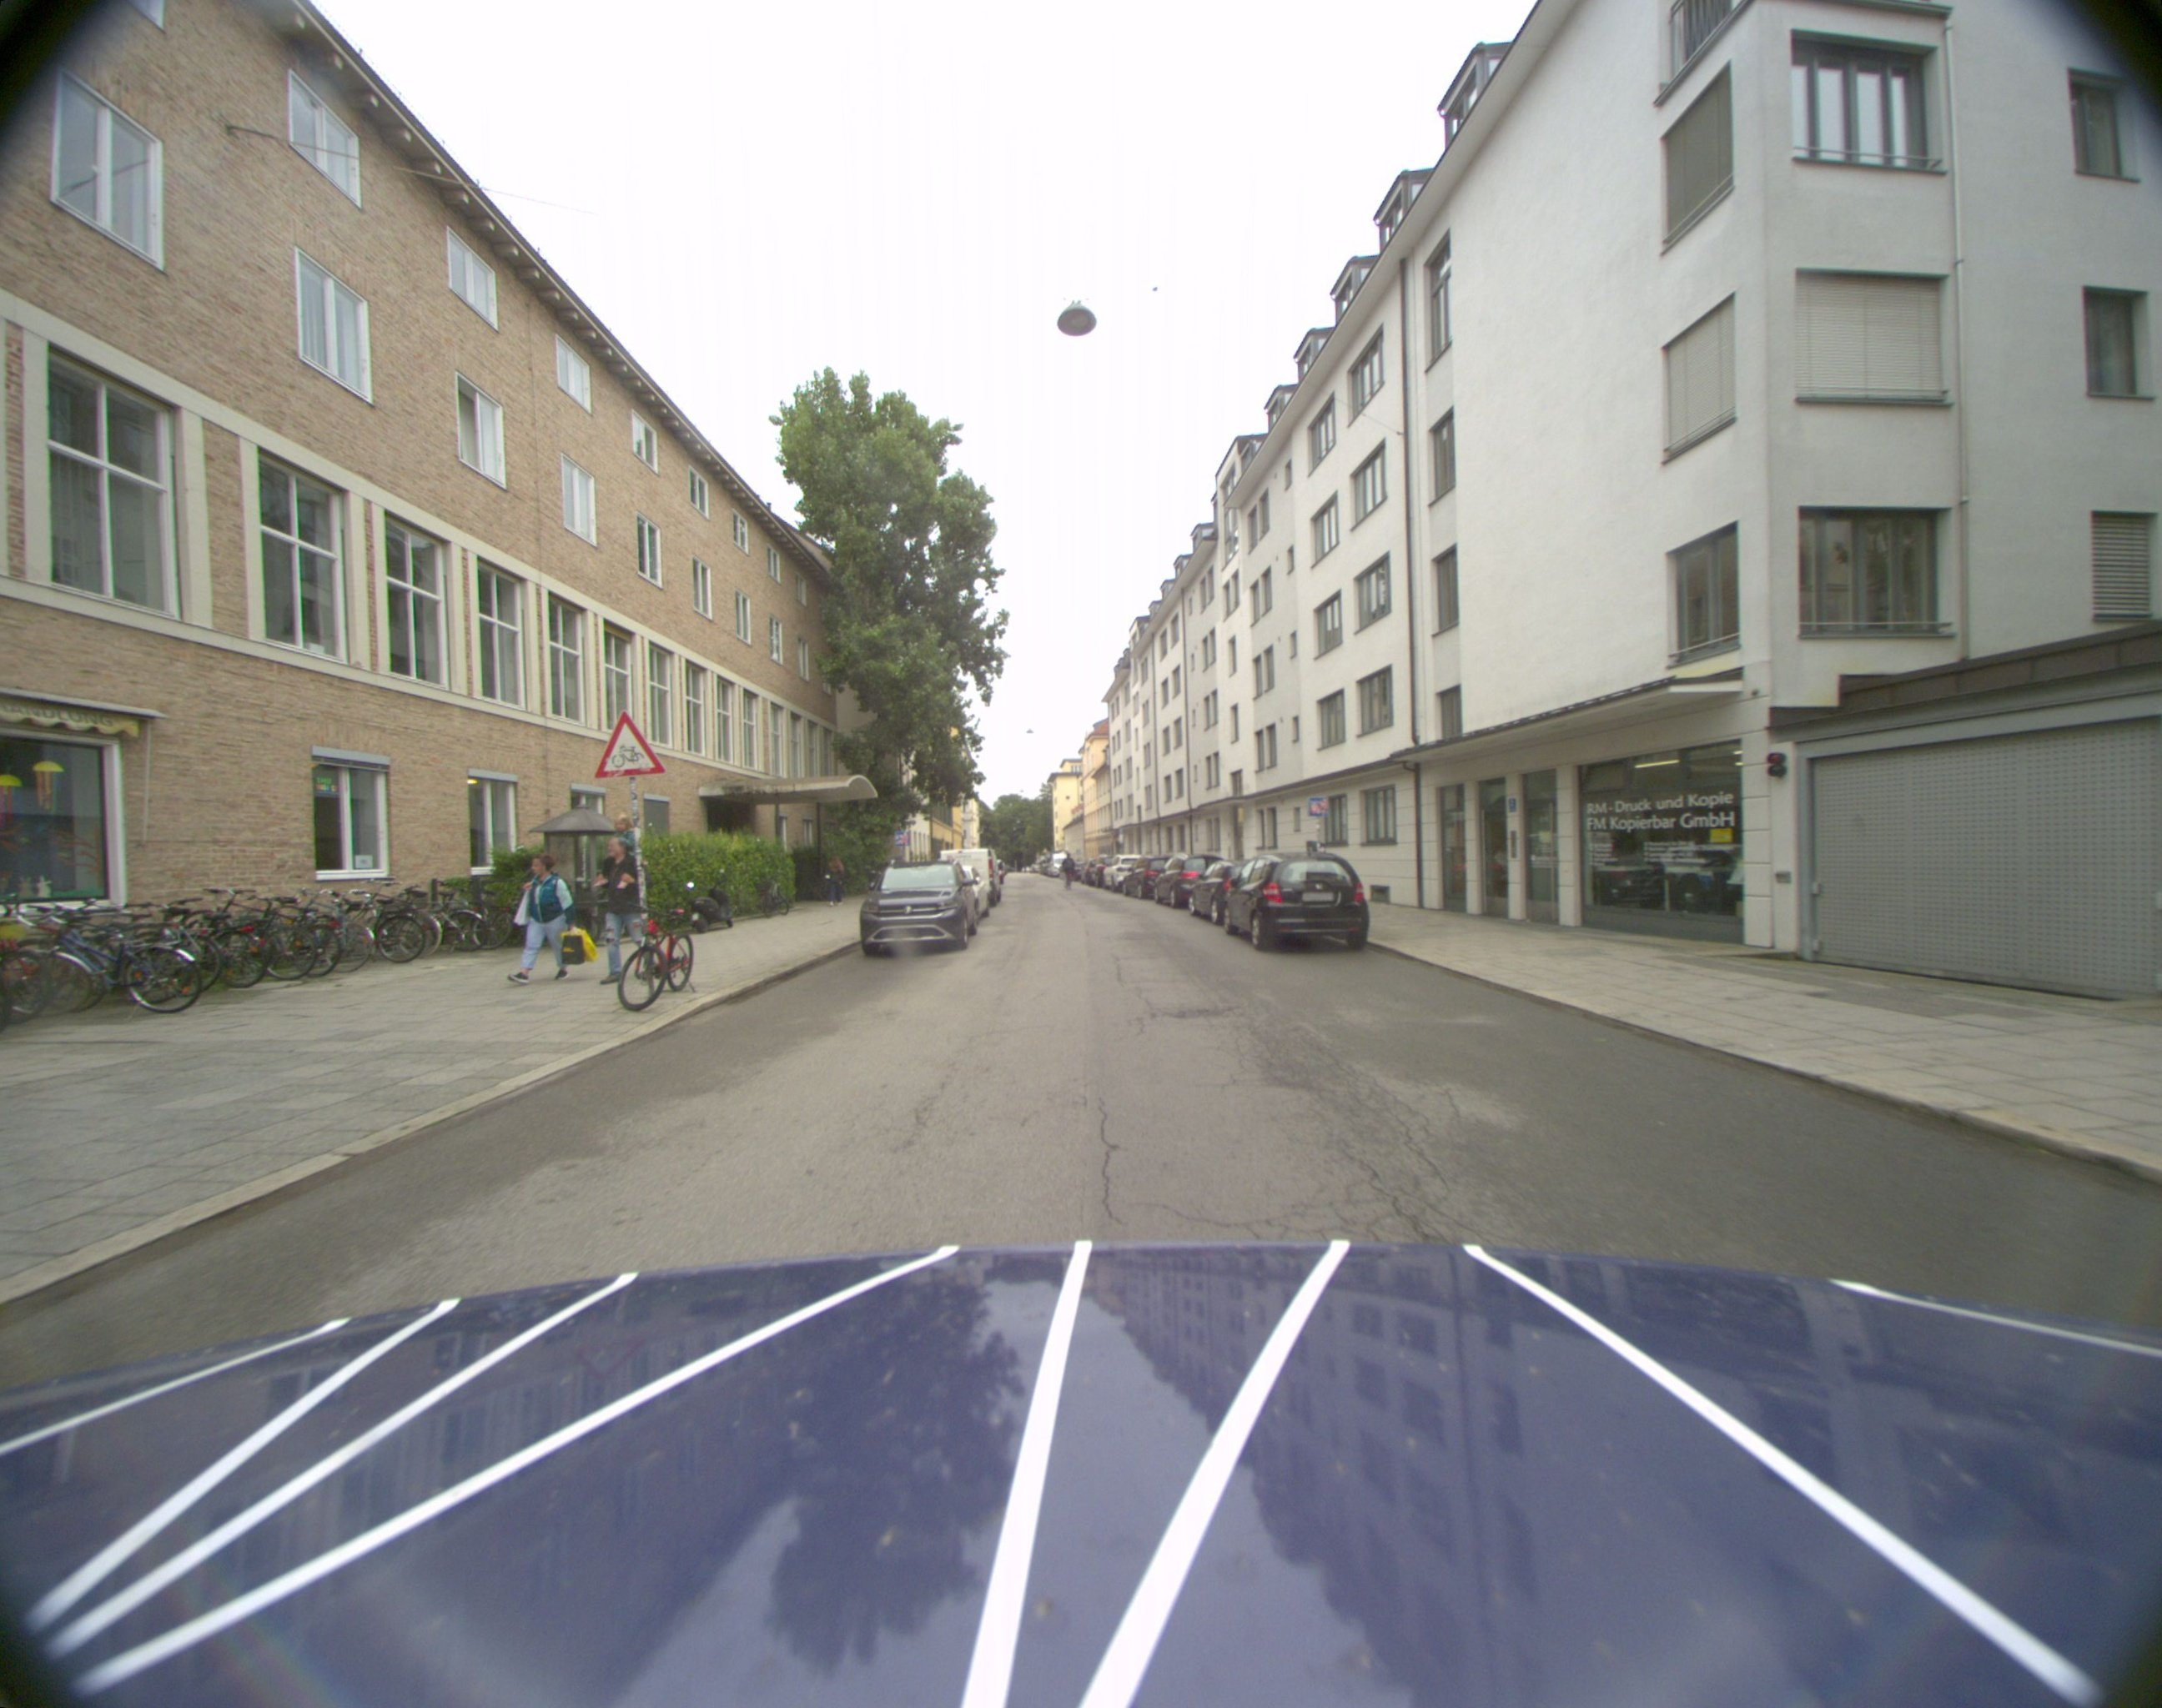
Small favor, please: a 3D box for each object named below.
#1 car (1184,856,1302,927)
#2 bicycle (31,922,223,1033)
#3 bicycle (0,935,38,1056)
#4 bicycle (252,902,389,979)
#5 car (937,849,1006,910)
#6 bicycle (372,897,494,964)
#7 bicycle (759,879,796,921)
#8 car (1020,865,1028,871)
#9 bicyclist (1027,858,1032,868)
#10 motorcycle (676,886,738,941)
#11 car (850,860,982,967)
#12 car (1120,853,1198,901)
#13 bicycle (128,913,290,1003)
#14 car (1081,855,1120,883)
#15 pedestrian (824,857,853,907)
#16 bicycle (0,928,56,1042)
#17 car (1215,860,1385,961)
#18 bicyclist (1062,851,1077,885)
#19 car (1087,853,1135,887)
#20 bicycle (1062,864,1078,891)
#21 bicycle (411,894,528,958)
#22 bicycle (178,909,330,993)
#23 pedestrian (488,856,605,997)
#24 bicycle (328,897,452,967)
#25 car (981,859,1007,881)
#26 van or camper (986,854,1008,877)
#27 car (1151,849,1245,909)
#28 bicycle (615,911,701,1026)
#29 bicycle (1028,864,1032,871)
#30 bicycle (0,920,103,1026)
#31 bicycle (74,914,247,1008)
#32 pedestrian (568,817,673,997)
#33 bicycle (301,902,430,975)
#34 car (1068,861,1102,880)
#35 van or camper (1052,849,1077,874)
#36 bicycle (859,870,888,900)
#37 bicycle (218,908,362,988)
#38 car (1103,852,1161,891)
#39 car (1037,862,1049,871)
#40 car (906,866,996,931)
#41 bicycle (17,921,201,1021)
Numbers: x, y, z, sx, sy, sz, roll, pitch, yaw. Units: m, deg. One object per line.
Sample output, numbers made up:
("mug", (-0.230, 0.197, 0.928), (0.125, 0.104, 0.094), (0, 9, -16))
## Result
("car", (3.622, 0.809, 17.685), (1.755, 1.445, 4.015), (-1, -1, -2))
("bicycle", (-9.595, 1.231, 7.661), (1.433, 1.036, 0.348), (-1, 0, -1))
("bicycle", (-10.321, 1.267, 6.792), (1.633, 1.036, 0.348), (-1, 0, 4))
("bicycle", (-10.764, 1.219, 10.768), (1.633, 1.036, 0.348), (-1, 0, 3))
("car", (-3.742, 0.828, 26.786), (1.887, 1.913, 4.873), (-2, 0, -3))
("bicycle", (-10.639, 1.243, 12.498), (1.634, 1.036, 0.348), (-1, 0, -3))
("bicycle", (-8.360, 1.253, 20.970), (0.423, 1.047, 1.488), (-3, 0, -2))
("car", (-13.514, 3.340, 178.768), (1.794, 1.409, 3.903), (-1, 0, -6))
("bicyclist", (-9.109, 1.616, 134.854), (0.688, 1.617, 0.852), (-3, 0, -6))
("motorcycle", (-8.168, 1.268, 16.681), (0.490, 1.047, 1.923), (-3, 0, -4))
("car", (-2.892, 0.967, 14.124), (1.752, 1.584, 3.954), (-3, 0, -4))
("car", (2.870, 0.834, 28.981), (1.878, 1.648, 4.588), (0, -1, -8))
("bicycle", (-10.613, 1.261, 9.260), (1.633, 1.036, 0.348), (-1, 0, 3))
("car", (1.089, 0.886, 45.005), (1.779, 1.530, 4.157), (0, -1, -6))
("pedestrian", (-8.066, 0.923, 25.271), (0.589, 1.623, 0.877), (-3, 0, 0))
("bicycle", (-10.827, 1.247, 7.273), (1.633, 1.036, 0.348), (-1, 0, 3))
("car", (3.528, 0.846, 13.037), (1.755, 1.445, 4.016), (-1, -1, 0))
("bicyclist", (-0.542, 0.648, 35.601), (0.659, 1.542, 0.887), (-2, 1, -2))
("car", (1.513, 0.835, 39.921), (1.878, 1.678, 4.518), (0, -1, -6))
("bicycle", (-0.512, 1.078, 35.789), (0.650, 1.190, 1.950), (-1, 0, -3))
("bicycle", (-10.515, 1.234, 13.082), (1.634, 1.036, 0.348), (-1, 0, -4))
("bicycle", (-10.704, 1.254, 9.844), (1.633, 1.036, 0.348), (-1, 0, 3))
("pedestrian", (-6.743, 0.889, 9.620), (0.859, 1.683, 0.752), (-3, 0, 8))
("bicycle", (-10.700, 1.207, 11.781), (1.633, 1.036, 0.348), (-1, 0, 3))
("car", (-6.130, 1.102, 53.598), (1.718, 1.415, 4.455), (-2, 0, -6))
("van or camper", (-8.108, 1.109, 73.512), (2.000, 2.001, 5.230), (-2, 0, -6))
("car", (3.443, 0.726, 23.106), (1.878, 1.648, 4.078), (0, -1, -5))
("bicycle", (-4.642, 1.206, 8.421), (0.348, 1.036, 1.633), (1, 0, -11))
("bicycle", (-9.072, 2.338, 134.908), (0.734, 1.144, 1.998), (-2, 0, -6))
("bicycle", (-11.078, 1.229, 7.850), (1.433, 1.036, 0.348), (-1, 0, -1))
("bicycle", (-10.653, 1.231, 8.804), (1.633, 1.036, 0.348), (-1, 0, 3))
("pedestrian", (-5.796, 0.640, 9.609), (0.813, 2.185, 0.796), (0, 1, 0))
("bicycle", (-10.702, 1.259, 11.379), (1.633, 1.036, 0.348), (-1, 0, 3))
("car", (0.230, 1.167, 54.815), (1.644, 1.346, 4.055), (0, -1, -12))
("van or camper", (-1.643, 0.733, 74.184), (1.999, 2.297, 5.476), (-2, 0, -5))
("bicycle", (-8.179, 1.206, 29.989), (0.672, 1.067, 2.223), (-2, 0, -5))
("bicycle", (-10.675, 1.262, 10.265), (1.633, 1.036, 0.348), (-1, 0, 3))
("car", (2.236, 0.768, 34.613), (1.878, 1.648, 4.588), (0, -1, -6))
("car", (-6.572, 2.112, 130.585), (1.712, 1.490, 3.998), (-2, 0, -6))
("car", (-3.295, 1.082, 19.964), (1.678, 1.409, 4.200), (-3, 0, -1))
("bicycle", (-10.651, 1.279, 8.340), (1.633, 1.036, 0.348), (-1, 0, 3))
